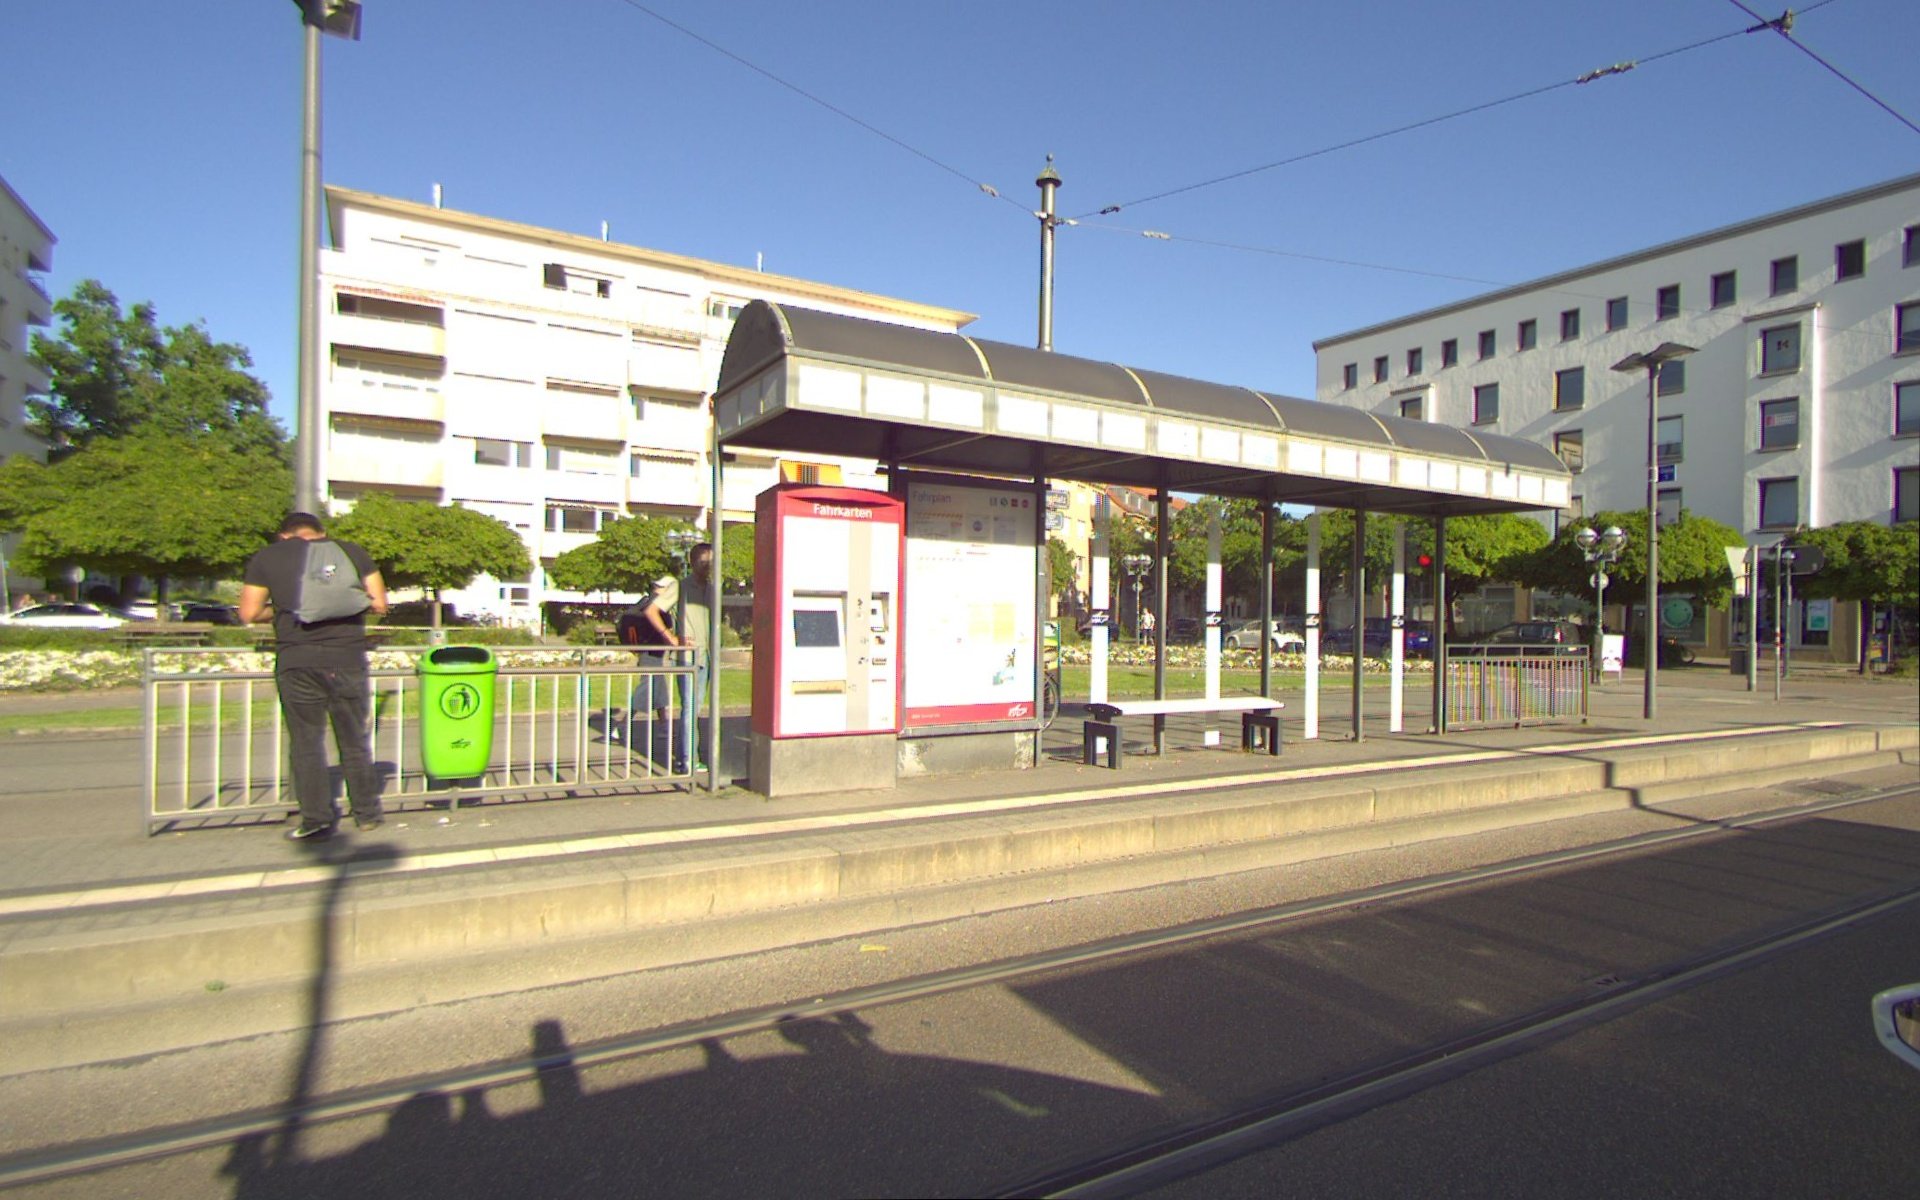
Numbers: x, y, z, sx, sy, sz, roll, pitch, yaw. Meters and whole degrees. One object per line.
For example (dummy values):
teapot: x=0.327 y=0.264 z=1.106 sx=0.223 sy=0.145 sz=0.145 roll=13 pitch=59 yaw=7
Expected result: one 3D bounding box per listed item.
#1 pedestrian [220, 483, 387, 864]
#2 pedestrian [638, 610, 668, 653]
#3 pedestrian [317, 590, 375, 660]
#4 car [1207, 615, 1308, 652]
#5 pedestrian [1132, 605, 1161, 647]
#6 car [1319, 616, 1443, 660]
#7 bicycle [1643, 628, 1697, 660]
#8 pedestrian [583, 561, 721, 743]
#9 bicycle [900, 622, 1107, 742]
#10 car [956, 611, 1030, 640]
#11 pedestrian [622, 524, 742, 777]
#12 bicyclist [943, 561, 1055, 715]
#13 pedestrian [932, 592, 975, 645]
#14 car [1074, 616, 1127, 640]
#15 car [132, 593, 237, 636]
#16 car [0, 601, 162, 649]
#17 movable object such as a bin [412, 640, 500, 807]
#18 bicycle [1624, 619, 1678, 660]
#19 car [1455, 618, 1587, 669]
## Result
pedestrian: x=-3.223 y=0.349 z=4.984 sx=0.599 sy=1.740 sz=0.546 roll=1 pitch=-3 yaw=-28
pedestrian: x=-10.272 y=1.044 z=33.594 sx=0.673 sy=1.378 sz=1.042 roll=1 pitch=-1 yaw=-34
pedestrian: x=-16.234 y=0.657 z=26.586 sx=1.161 sy=1.811 sz=1.074 roll=1 pitch=0 yaw=-26
car: x=14.147 y=1.548 z=47.952 sx=1.835 sy=1.628 sz=4.581 roll=1 pitch=-1 yaw=-31
pedestrian: x=8.398 y=1.174 z=45.277 sx=0.856 sy=1.841 sz=0.944 roll=2 pitch=-1 yaw=-19
car: x=17.852 y=1.587 z=42.823 sx=1.978 sy=1.684 sz=4.581 roll=1 pitch=-1 yaw=-31
bicycle: x=28.197 y=1.753 z=39.854 sx=2.586 sy=1.206 sz=0.615 roll=1 pitch=-1 yaw=-27
pedestrian: x=-3.089 y=0.504 z=10.079 sx=0.983 sy=1.702 sz=0.968 roll=-1 pitch=-2 yaw=44
bicycle: x=0.440 y=0.809 z=10.168 sx=1.946 sy=1.128 sz=0.727 roll=2 pitch=0 yaw=-19
car: x=1.623 y=1.237 z=49.254 sx=3.271 sy=1.372 sz=1.638 roll=1 pitch=-1 yaw=-29
pedestrian: x=-2.108 y=0.380 z=7.600 sx=0.760 sy=1.797 sz=0.613 roll=1 pitch=-3 yaw=-28
bicyclist: x=0.379 y=0.378 z=10.154 sx=0.863 sy=1.475 sz=0.827 roll=2 pitch=0 yaw=-18
pedestrian: x=-0.247 y=0.722 z=39.432 sx=1.219 sy=2.040 sz=1.214 roll=1 pitch=-1 yaw=-30
car: x=9.420 y=1.863 z=67.063 sx=1.887 sy=1.514 sz=4.343 roll=2 pitch=0 yaw=31
car: x=-28.730 y=0.550 z=37.313 sx=2.899 sy=1.506 sz=1.407 roll=1 pitch=-1 yaw=-30
car: x=-25.593 y=0.723 z=29.010 sx=3.672 sy=1.318 sz=1.984 roll=1 pitch=-1 yaw=-30
movable object such as a bin: x=-2.785 y=0.664 z=5.556 sx=0.411 sy=0.871 sz=0.335 roll=1 pitch=-1 yaw=-27
bicycle: x=27.871 y=1.599 z=40.498 sx=2.585 sy=1.628 sz=0.616 roll=1 pitch=-1 yaw=-26
car: x=21.054 y=1.595 z=37.834 sx=1.804 sy=1.728 sz=3.968 roll=1 pitch=-1 yaw=-30
